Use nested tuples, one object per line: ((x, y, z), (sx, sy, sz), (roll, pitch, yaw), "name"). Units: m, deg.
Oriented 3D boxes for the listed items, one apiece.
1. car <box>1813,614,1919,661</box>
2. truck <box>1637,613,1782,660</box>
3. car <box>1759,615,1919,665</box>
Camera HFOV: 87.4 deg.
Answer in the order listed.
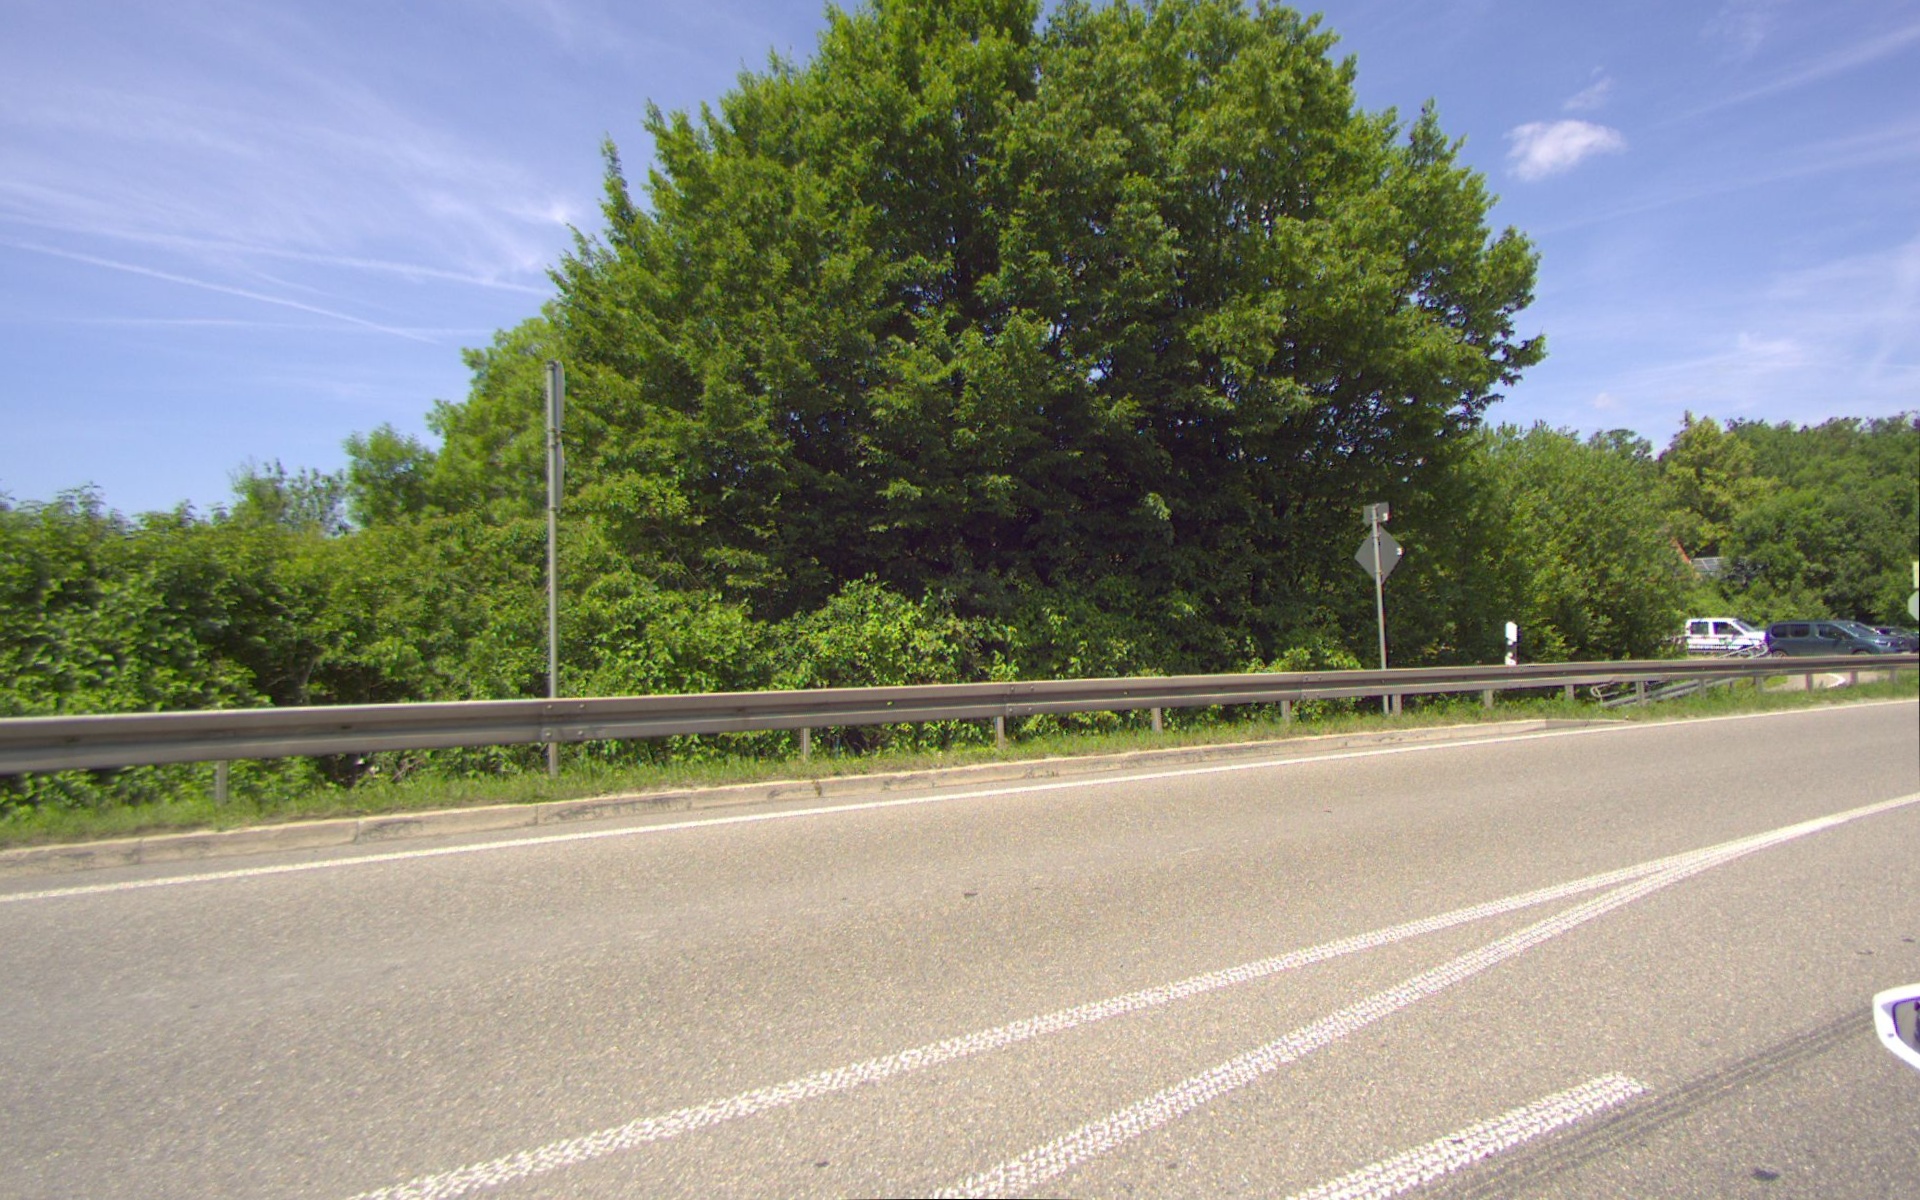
((37.054, 1.476, 40.068), (1.968, 1.793, 4.231), (1, -1, -18), "car")
((33.530, 1.620, 45.049), (2.027, 1.815, 4.835), (3, -1, -39), "truck")
((33.391, 1.473, 38.270), (1.968, 1.793, 4.231), (1, -1, -18), "car")
